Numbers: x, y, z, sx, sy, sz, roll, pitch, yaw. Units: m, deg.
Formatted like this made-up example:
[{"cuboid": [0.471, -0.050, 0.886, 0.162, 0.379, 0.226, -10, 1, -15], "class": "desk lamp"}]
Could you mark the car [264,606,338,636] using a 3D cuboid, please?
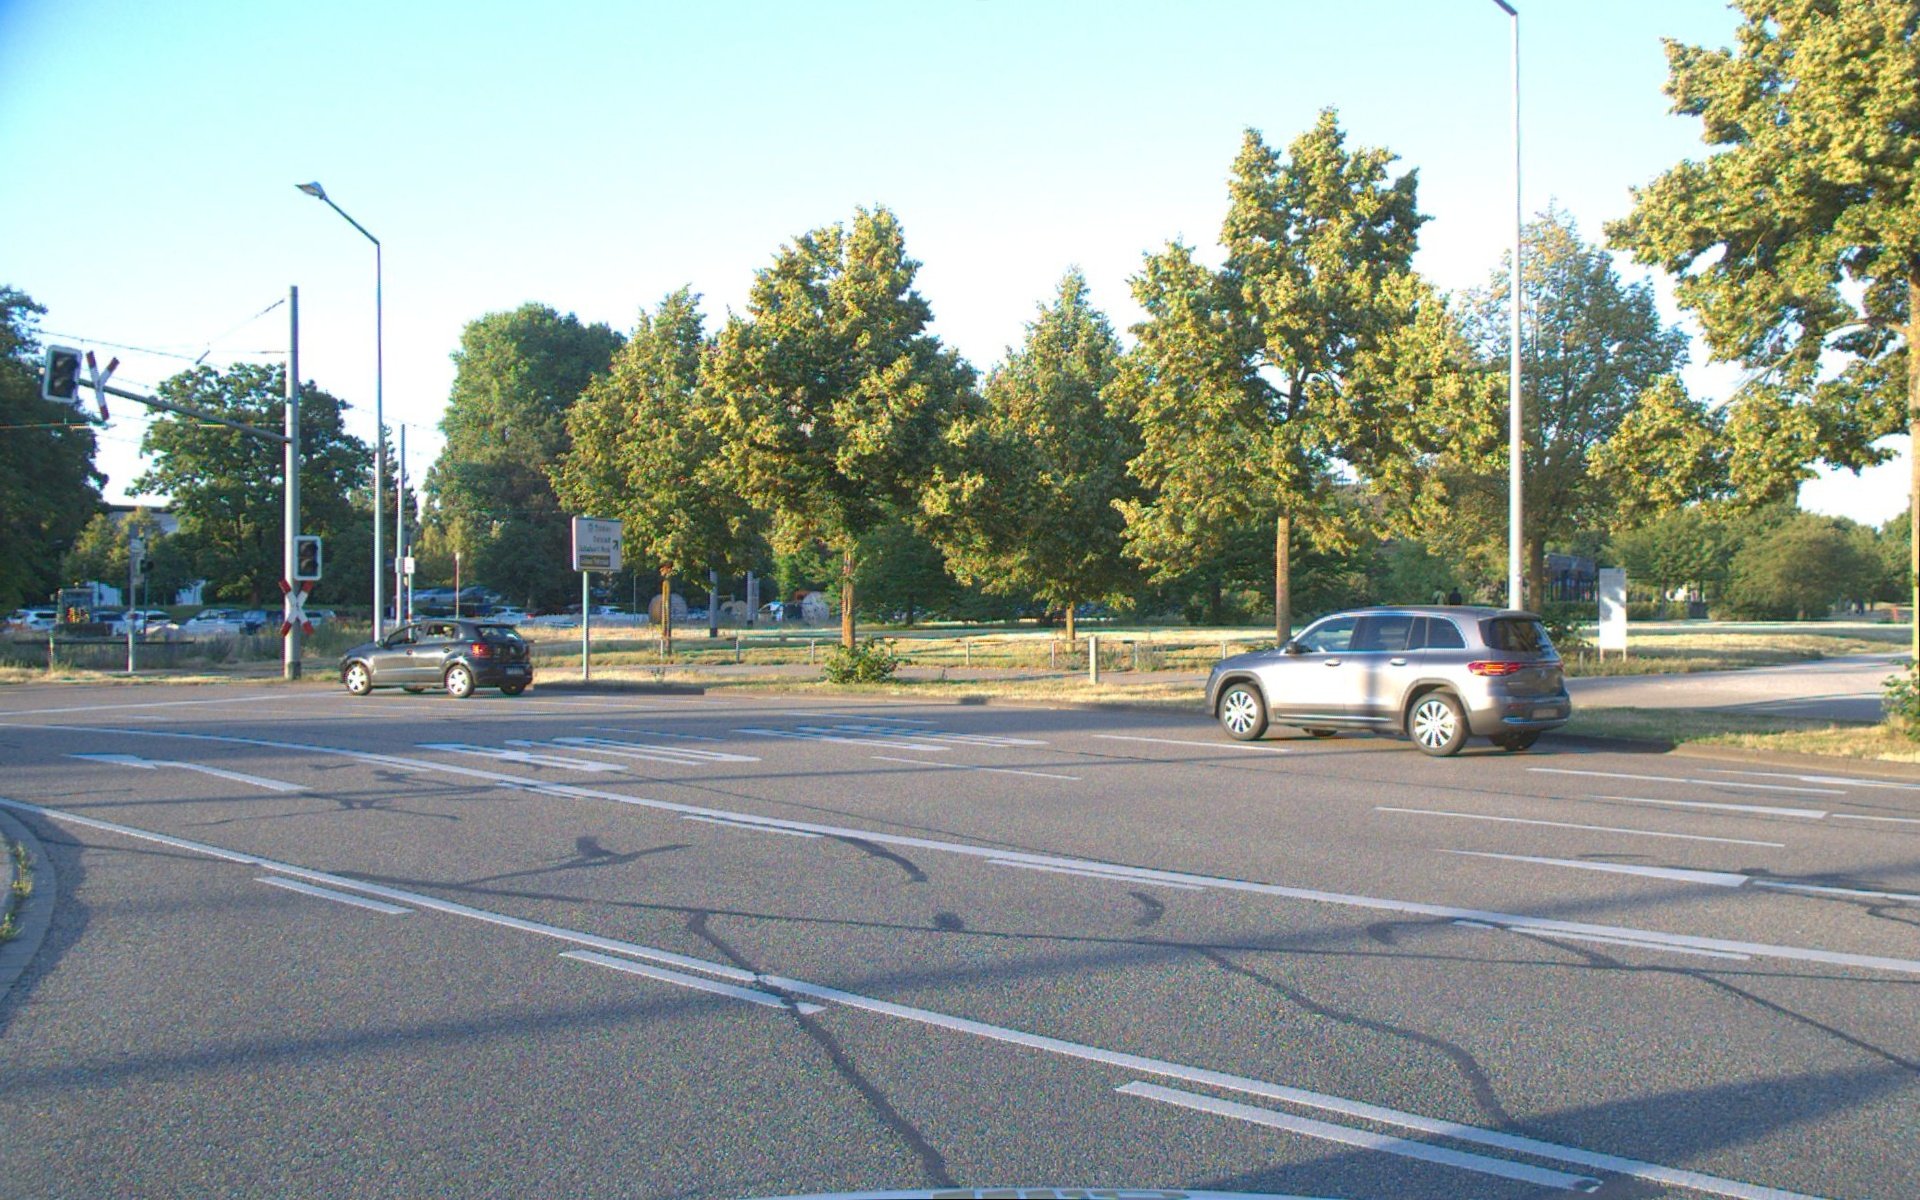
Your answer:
[{"cuboid": [-37.400, 1.166, 93.854, 3.915, 1.632, 1.995, 0, 0, 32], "class": "car"}]

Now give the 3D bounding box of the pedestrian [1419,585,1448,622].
[{"cuboid": [21.204, 0.164, 74.115, 1.047, 1.646, 0.911, 0, 0, 2], "class": "pedestrian"}]

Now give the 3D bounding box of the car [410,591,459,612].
[{"cuboid": [-47.970, 0.113, 151.046, 1.959, 1.847, 3.987, 0, 0, 34], "class": "car"}]

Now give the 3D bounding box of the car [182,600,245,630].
[{"cuboid": [-52.222, 1.039, 115.688, 3.939, 2.049, 1.983, 0, 0, -27], "class": "car"}]

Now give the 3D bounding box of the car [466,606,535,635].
[{"cuboid": [-32.539, 1.440, 117.140, 4.499, 2.049, 1.996, 0, 0, -9], "class": "car"}]

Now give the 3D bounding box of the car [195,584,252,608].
[{"cuboid": [-63.393, -0.326, 142.341, 1.958, 2.049, 4.105, 0, 0, 33], "class": "car"}]

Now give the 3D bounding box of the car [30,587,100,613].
[{"cuboid": [-70.550, -0.026, 130.444, 1.956, 2.049, 4.590, 0, 0, 29], "class": "car"}]

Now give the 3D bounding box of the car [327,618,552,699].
[{"cuboid": [-9.787, 1.065, 31.101, 3.907, 1.377, 1.694, 0, 1, 24], "class": "car"}]

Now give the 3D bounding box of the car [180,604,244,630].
[{"cuboid": [-50.574, 1.108, 111.853, 3.939, 1.691, 1.983, 0, 0, -27], "class": "car"}]

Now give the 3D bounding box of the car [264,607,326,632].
[{"cuboid": [-45.831, 1.319, 114.094, 3.933, 1.691, 1.889, 0, 0, -23], "class": "car"}]

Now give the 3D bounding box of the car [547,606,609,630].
[{"cuboid": [-26.284, 1.236, 113.660, 3.915, 1.632, 1.995, 0, 0, 32], "class": "car"}]

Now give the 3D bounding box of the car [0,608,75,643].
[{"cuboid": [-45.636, 1.237, 81.417, 3.915, 1.632, 1.995, 0, 0, 32], "class": "car"}]

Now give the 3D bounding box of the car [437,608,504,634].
[{"cuboid": [-30.989, 1.322, 104.670, 3.915, 1.632, 1.995, 0, 0, 32], "class": "car"}]

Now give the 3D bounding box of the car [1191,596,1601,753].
[{"cuboid": [5.130, 0.796, 19.930, 1.983, 1.666, 4.455, 0, 0, -42], "class": "car"}]

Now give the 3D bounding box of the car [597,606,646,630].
[{"cuboid": [-26.380, 1.392, 128.865, 1.979, 1.782, 4.538, 0, 1, -37], "class": "car"}]

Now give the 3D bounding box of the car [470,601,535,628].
[{"cuboid": [-34.609, 1.083, 125.247, 4.499, 2.049, 1.996, 0, 0, -9], "class": "car"}]

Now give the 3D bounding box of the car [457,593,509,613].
[{"cuboid": [-41.707, 0.296, 144.707, 3.902, 1.736, 2.001, 0, 0, 6], "class": "car"}]

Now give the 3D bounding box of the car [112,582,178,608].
[{"cuboid": [-67.135, -0.415, 136.319, 1.958, 2.049, 4.585, 0, 0, 33], "class": "car"}]

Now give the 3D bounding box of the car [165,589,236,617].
[{"cuboid": [-56.663, 0.237, 123.472, 1.956, 2.049, 4.590, 0, 0, 29], "class": "car"}]

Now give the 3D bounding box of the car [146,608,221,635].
[{"cuboid": [-50.244, 1.369, 107.066, 1.863, 1.691, 3.987, 0, 0, 34], "class": "car"}]

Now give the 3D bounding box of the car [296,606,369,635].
[{"cuboid": [-36.456, 1.192, 96.072, 3.915, 1.632, 1.995, 0, 0, 32], "class": "car"}]

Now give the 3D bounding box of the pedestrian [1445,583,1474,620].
[{"cuboid": [22.264, 0.054, 73.764, 1.047, 1.646, 0.911, 0, 0, 2], "class": "pedestrian"}]

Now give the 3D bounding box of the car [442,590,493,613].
[{"cuboid": [-44.108, 0.109, 148.219, 1.963, 2.049, 3.979, 0, 0, 40], "class": "car"}]

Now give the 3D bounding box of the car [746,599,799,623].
[{"cuboid": [-13.017, 0.760, 114.660, 1.724, 1.646, 3.940, 0, 0, -41], "class": "car"}]

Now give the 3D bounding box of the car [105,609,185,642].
[{"cuboid": [-42.266, 1.313, 85.770, 3.915, 1.632, 1.995, 0, 0, 32], "class": "car"}]

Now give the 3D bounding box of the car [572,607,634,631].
[{"cuboid": [-24.915, 1.321, 115.410, 3.915, 1.632, 1.995, 0, 0, 32], "class": "car"}]

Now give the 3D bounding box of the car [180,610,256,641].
[{"cuboid": [-40.542, 1.362, 90.360, 3.915, 1.632, 1.995, 0, 0, 32], "class": "car"}]

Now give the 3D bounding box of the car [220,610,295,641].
[{"cuboid": [-39.100, 1.394, 92.028, 3.915, 1.632, 1.995, 0, 0, 32], "class": "car"}]
